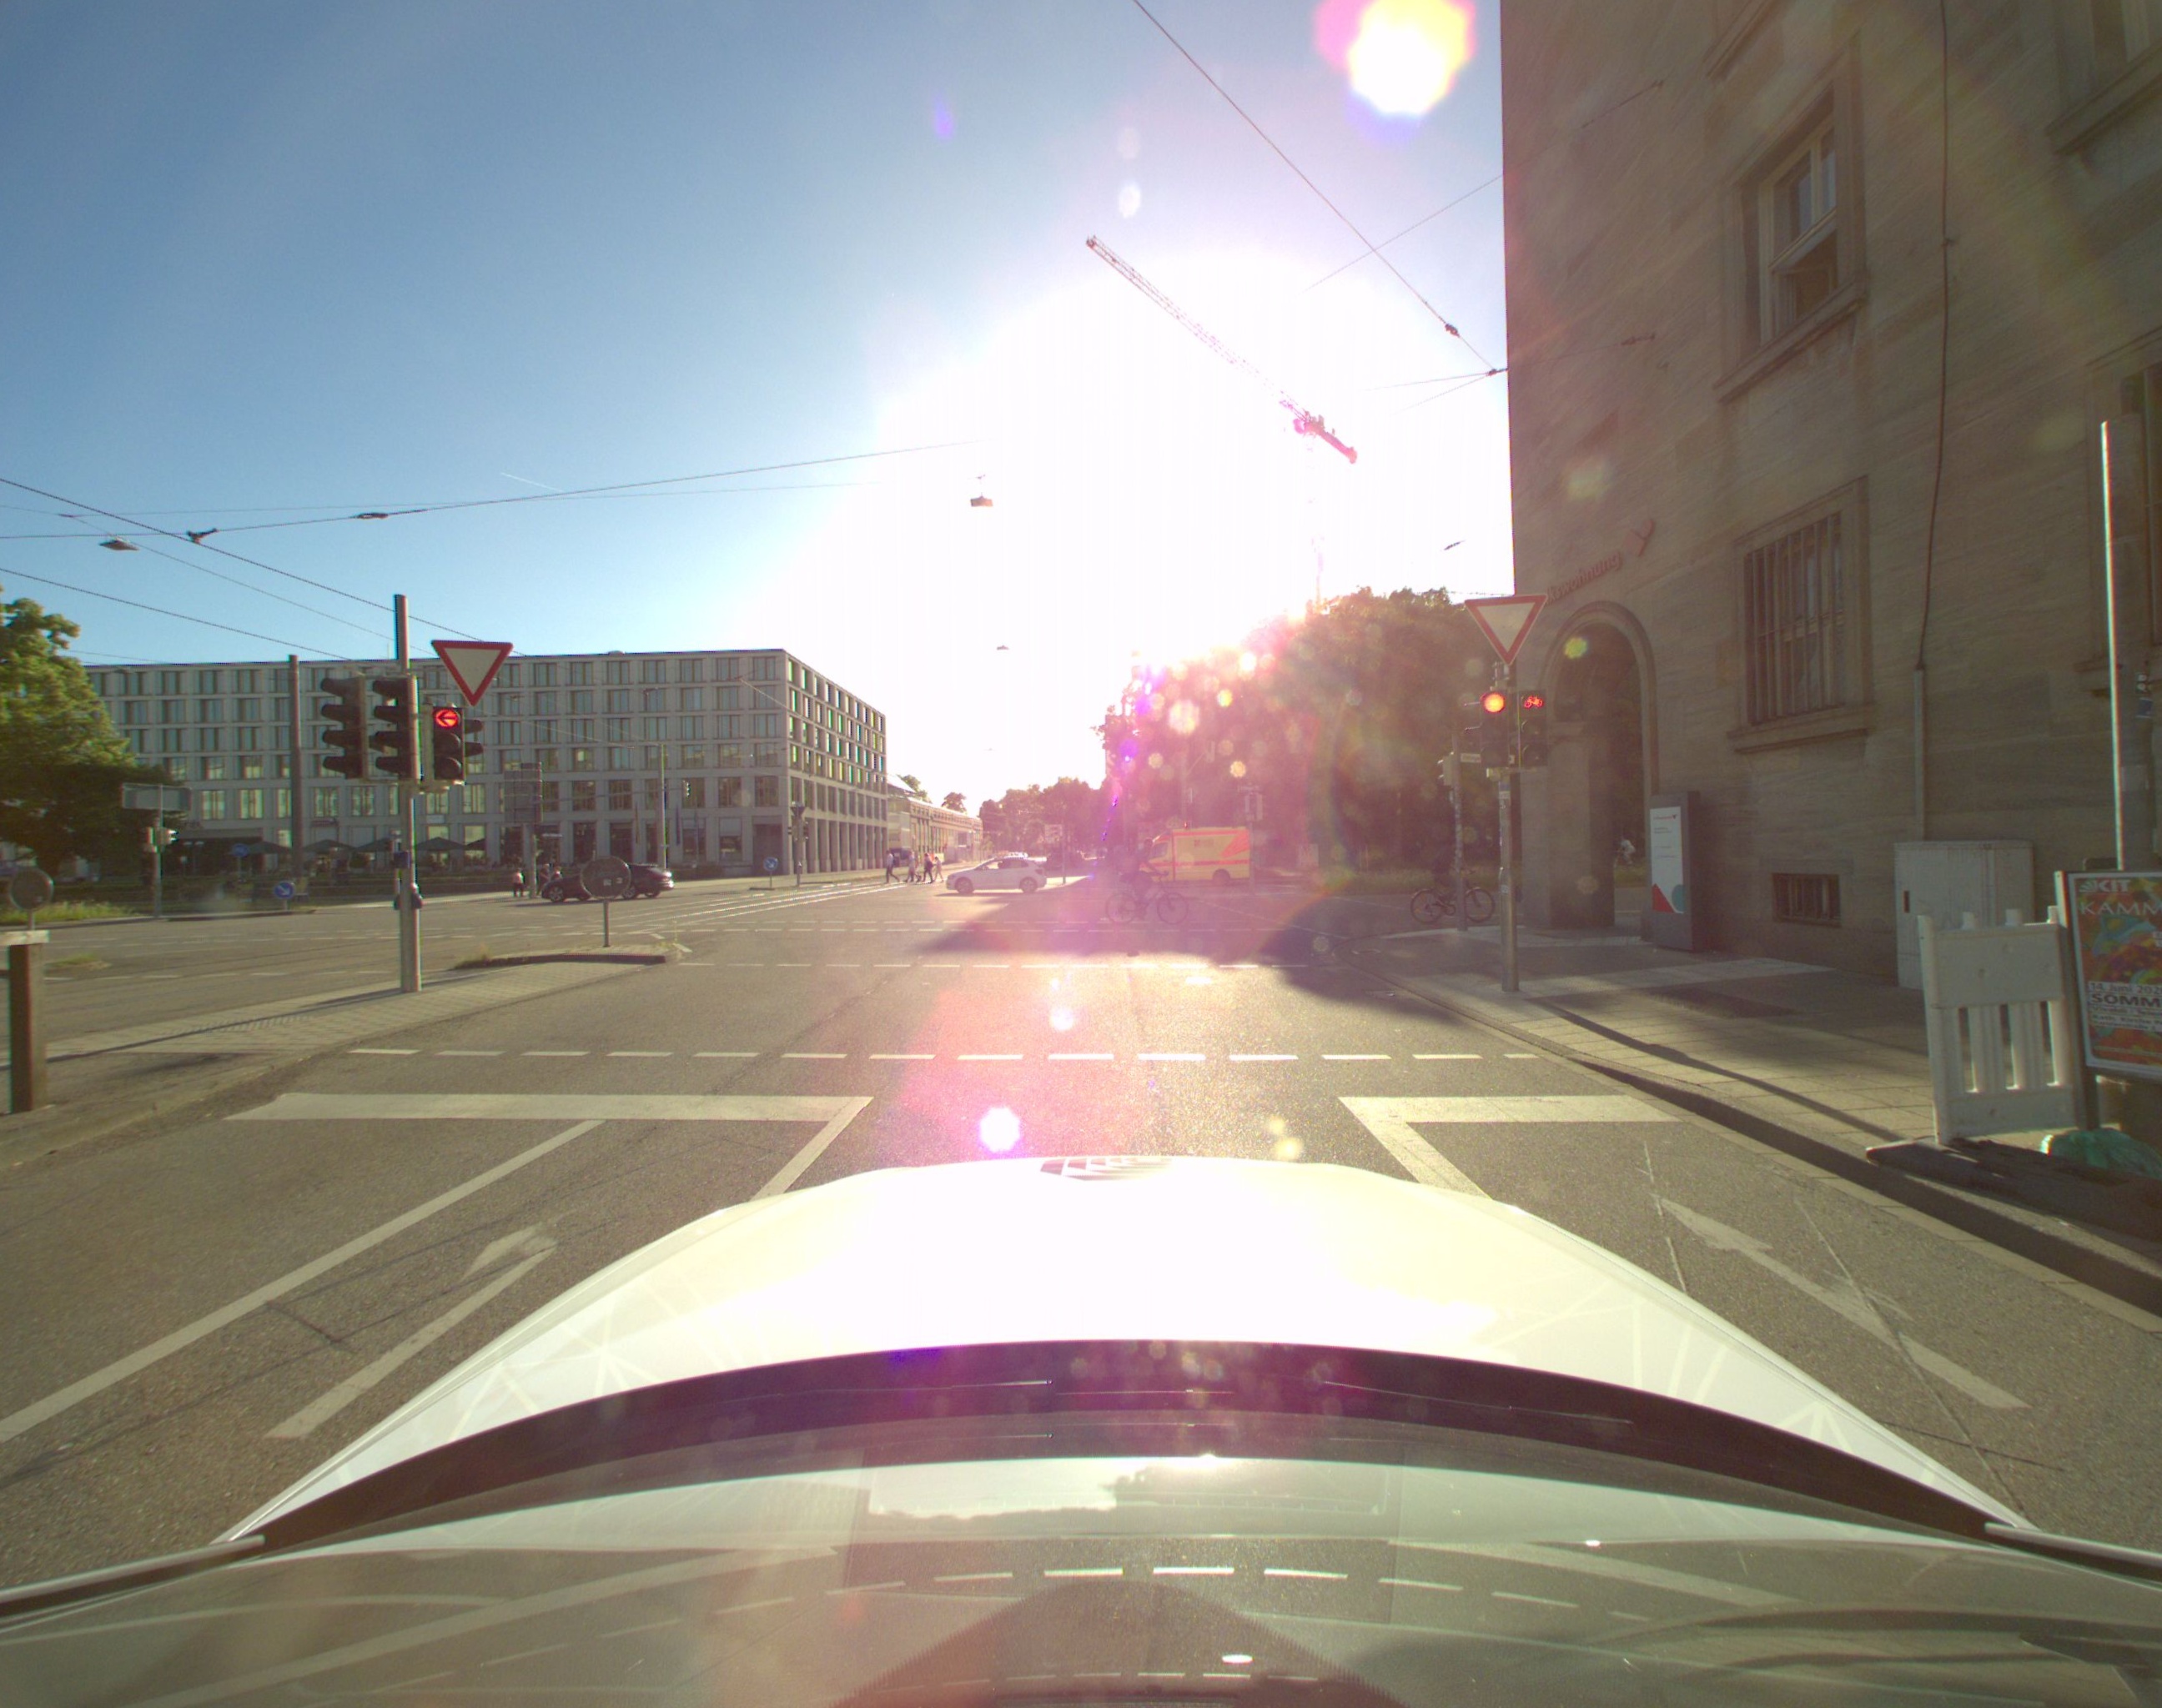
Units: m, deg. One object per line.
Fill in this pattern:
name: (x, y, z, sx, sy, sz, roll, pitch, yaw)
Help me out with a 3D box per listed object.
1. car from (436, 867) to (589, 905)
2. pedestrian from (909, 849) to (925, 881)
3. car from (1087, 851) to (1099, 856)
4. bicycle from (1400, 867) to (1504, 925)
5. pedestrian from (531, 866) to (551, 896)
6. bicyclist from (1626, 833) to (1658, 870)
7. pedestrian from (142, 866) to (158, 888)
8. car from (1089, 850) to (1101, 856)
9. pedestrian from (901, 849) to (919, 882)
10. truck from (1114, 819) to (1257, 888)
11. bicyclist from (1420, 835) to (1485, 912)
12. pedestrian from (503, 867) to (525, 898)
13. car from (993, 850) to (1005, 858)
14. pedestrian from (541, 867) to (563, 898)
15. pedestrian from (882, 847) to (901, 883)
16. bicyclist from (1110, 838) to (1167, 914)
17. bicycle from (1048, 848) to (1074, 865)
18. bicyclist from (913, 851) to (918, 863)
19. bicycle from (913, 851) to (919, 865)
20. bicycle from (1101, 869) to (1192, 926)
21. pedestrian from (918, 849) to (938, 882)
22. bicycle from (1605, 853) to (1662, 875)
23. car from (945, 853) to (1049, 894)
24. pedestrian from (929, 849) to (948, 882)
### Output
car: (-22.941, 1.299, 33.002, 4.721, 1.415, 1.999, -1, -2, -1)
pedestrian: (-9.378, 0.617, 46.494, 0.735, 1.803, 0.533, -2, 0, 7)
car: (3.141, -0.187, 211.400, 3.205, 1.263, 1.374, 0, -1, 2)
bicycle: (7.595, 0.847, 16.734, 1.804, 1.085, 0.768, -1, 2, 5)
pedestrian: (-30.220, 1.508, 45.567, 0.692, 1.644, 0.621, -2, 0, -3)
bicyclist: (24.665, -0.101, 35.794, 0.971, 1.560, 0.575, -2, 0, 1)
pedestrian: (-71.095, 1.763, 62.198, 0.538, 1.669, 0.561, 0, -1, -2)
car: (3.673, -0.315, 213.550, 3.207, 1.588, 1.445, 0, -1, -3)
pedestrian: (-9.547, 0.644, 45.577, 0.735, 1.803, 0.717, -2, 0, 7)
truck: (4.820, -0.012, 38.431, 6.441, 3.016, 2.727, -1, 0, 2)
bicyclist: (7.615, 0.386, 16.725, 0.997, 1.512, 0.768, -1, 2, 5)
pedestrian: (-31.002, 1.556, 44.533, 0.690, 1.644, 0.623, -2, 0, 9)
car: (-15.770, 0.007, 157.173, 1.888, 1.607, 4.499, -2, 0, 0)
pedestrian: (-29.058, 1.564, 44.749, 0.790, 1.644, 0.621, -2, 0, -3)
pedestrian: (-10.263, 0.602, 44.161, 0.797, 1.918, 0.638, -2, 0, 7)
bicyclist: (1.230, 0.448, 17.573, 1.122, 1.594, 0.765, 0, 1, -4)
bicycle: (-2.003, 0.249, 81.708, 2.538, 1.744, 1.038, 0, -1, 1)
bicyclist: (-26.521, 0.467, 130.853, 0.569, 2.024, 0.762, -2, 0, 0)
bicycle: (-26.514, 0.605, 130.908, 0.569, 2.296, 1.422, -2, 0, 0)
bicycle: (1.397, 0.922, 17.602, 1.869, 1.158, 0.765, 0, 1, -5)
pedestrian: (-8.406, 0.624, 44.769, 0.865, 1.803, 0.665, -2, 0, 7)
bicycle: (24.285, 0.441, 35.810, 2.057, 0.933, 0.575, -2, 0, 1)
car: (-3.341, 0.805, 32.895, 4.030, 1.434, 1.631, -2, -4, -1)
pedestrian: (-8.002, 0.642, 45.781, 0.865, 1.803, 0.533, -2, 0, 7)
